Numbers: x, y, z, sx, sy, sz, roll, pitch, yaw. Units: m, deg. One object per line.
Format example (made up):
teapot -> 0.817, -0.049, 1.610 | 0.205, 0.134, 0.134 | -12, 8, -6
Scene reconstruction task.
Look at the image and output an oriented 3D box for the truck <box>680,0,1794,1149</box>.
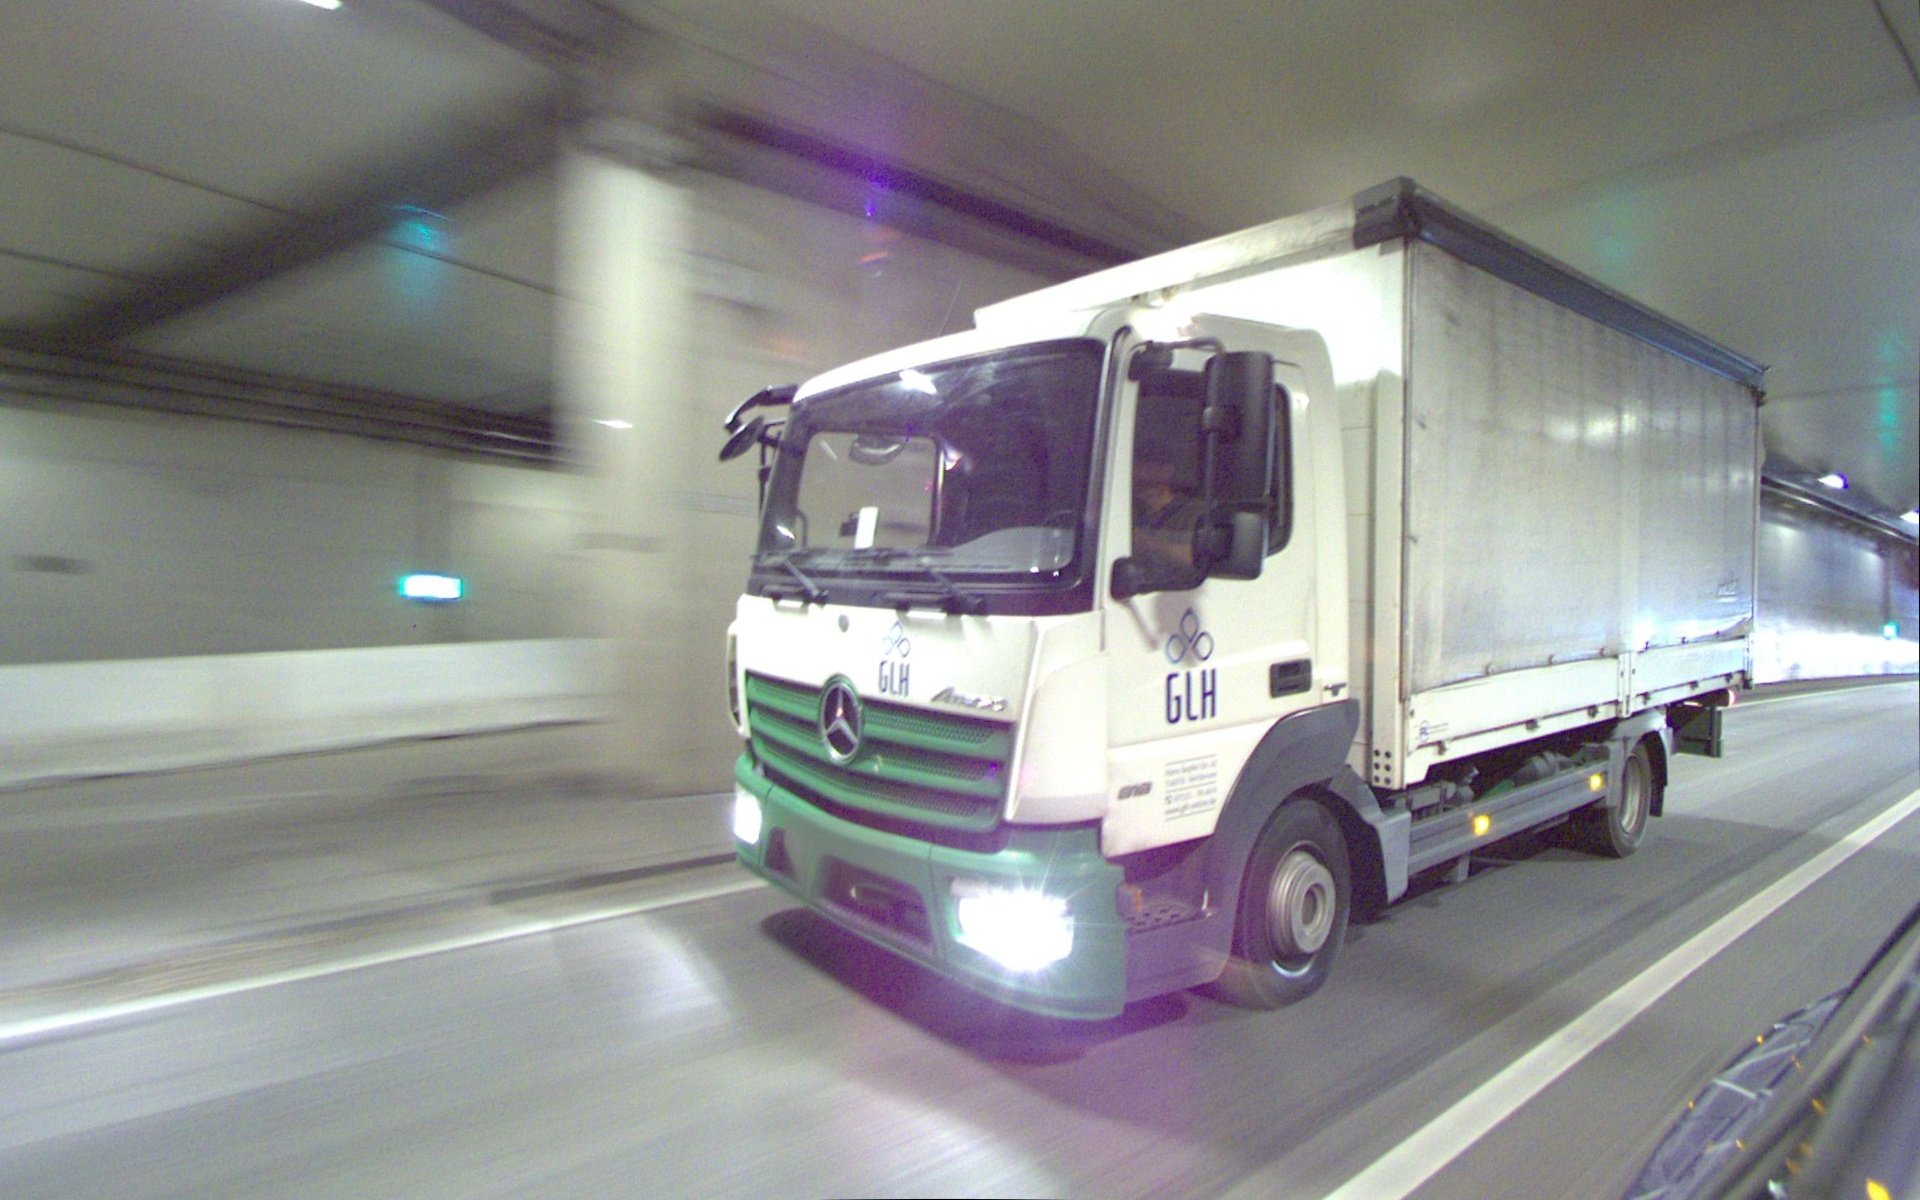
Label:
truck -> 2.301, -0.151, 5.875 | 7.114, 3.221, 2.559 | 1, -1, -39
